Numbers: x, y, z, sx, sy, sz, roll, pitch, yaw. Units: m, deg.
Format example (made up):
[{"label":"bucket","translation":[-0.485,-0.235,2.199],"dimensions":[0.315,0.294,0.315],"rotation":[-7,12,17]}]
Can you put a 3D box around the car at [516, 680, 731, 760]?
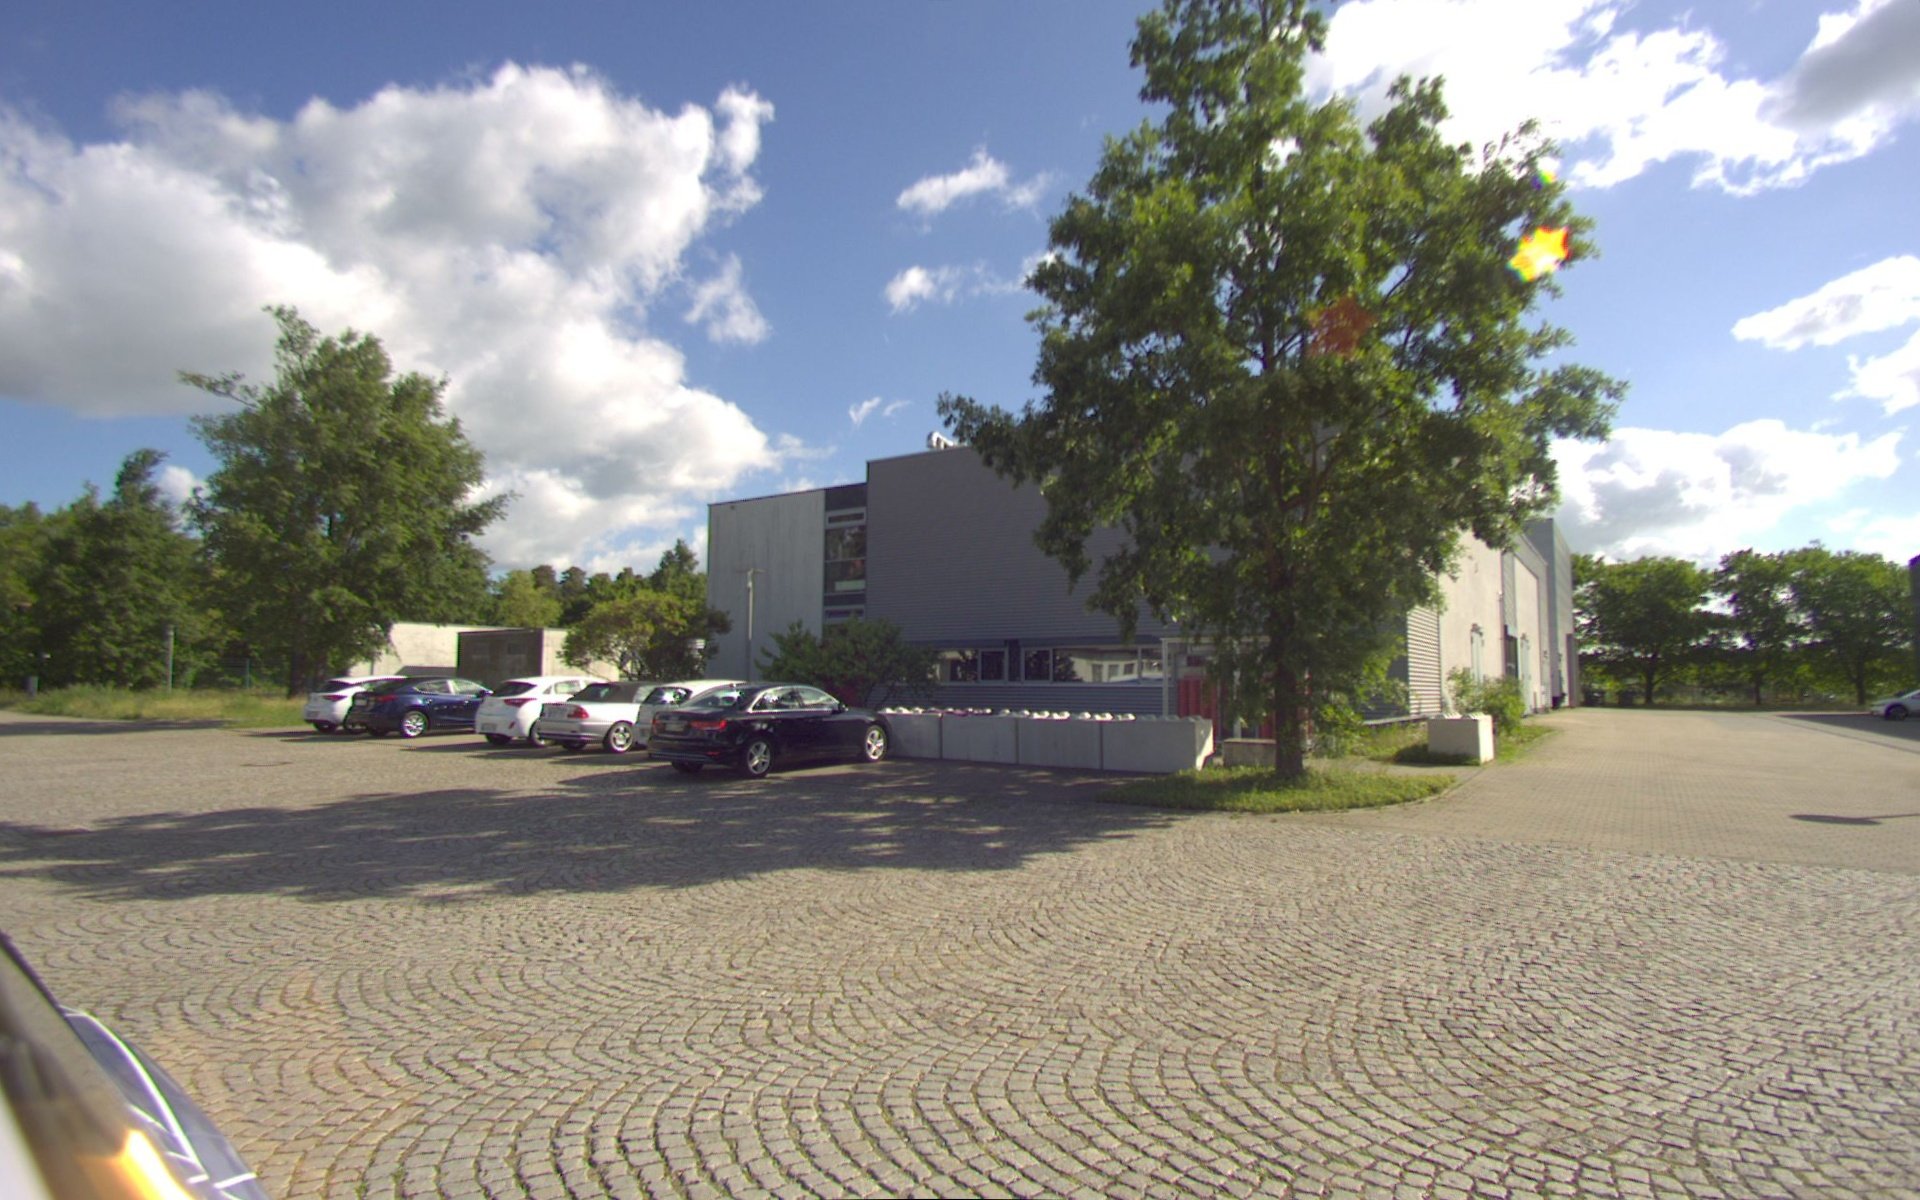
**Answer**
[{"label":"car","translation":[-6.709,2.356,20.534],"dimensions":[1.724,1.382,3.878],"rotation":[-3,-5,35]}]

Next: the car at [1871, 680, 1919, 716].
[{"label":"car","translation":[45.458,4.536,46.836],"dimensions":[4.567,1.676,1.977],"rotation":[-3,-6,34]}]

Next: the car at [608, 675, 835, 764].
[{"label":"car","translation":[-4.483,2.211,19.550],"dimensions":[1.690,1.471,4.096],"rotation":[-4,-5,39]}]

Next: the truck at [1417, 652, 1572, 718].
[{"label":"truck","translation":[33.093,5.303,62.848],"dimensions":[8.085,3.847,2.618],"rotation":[-4,-7,36]}]

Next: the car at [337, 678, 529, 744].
[{"label":"car","translation":[-12.986,2.690,25.140],"dimensions":[1.689,1.428,3.878],"rotation":[-3,-5,35]}]

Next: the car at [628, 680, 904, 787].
[{"label":"car","translation":[-3.035,2.090,16.844],"dimensions":[1.752,1.434,4.680],"rotation":[-3,-5,33]}]

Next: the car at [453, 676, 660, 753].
[{"label":"car","translation":[-8.718,2.430,22.137],"dimensions":[1.752,1.458,3.878],"rotation":[-3,-5,35]}]

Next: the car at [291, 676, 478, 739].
[{"label":"car","translation":[-15.055,2.768,26.639],"dimensions":[1.792,1.446,3.878],"rotation":[-3,-5,35]}]
